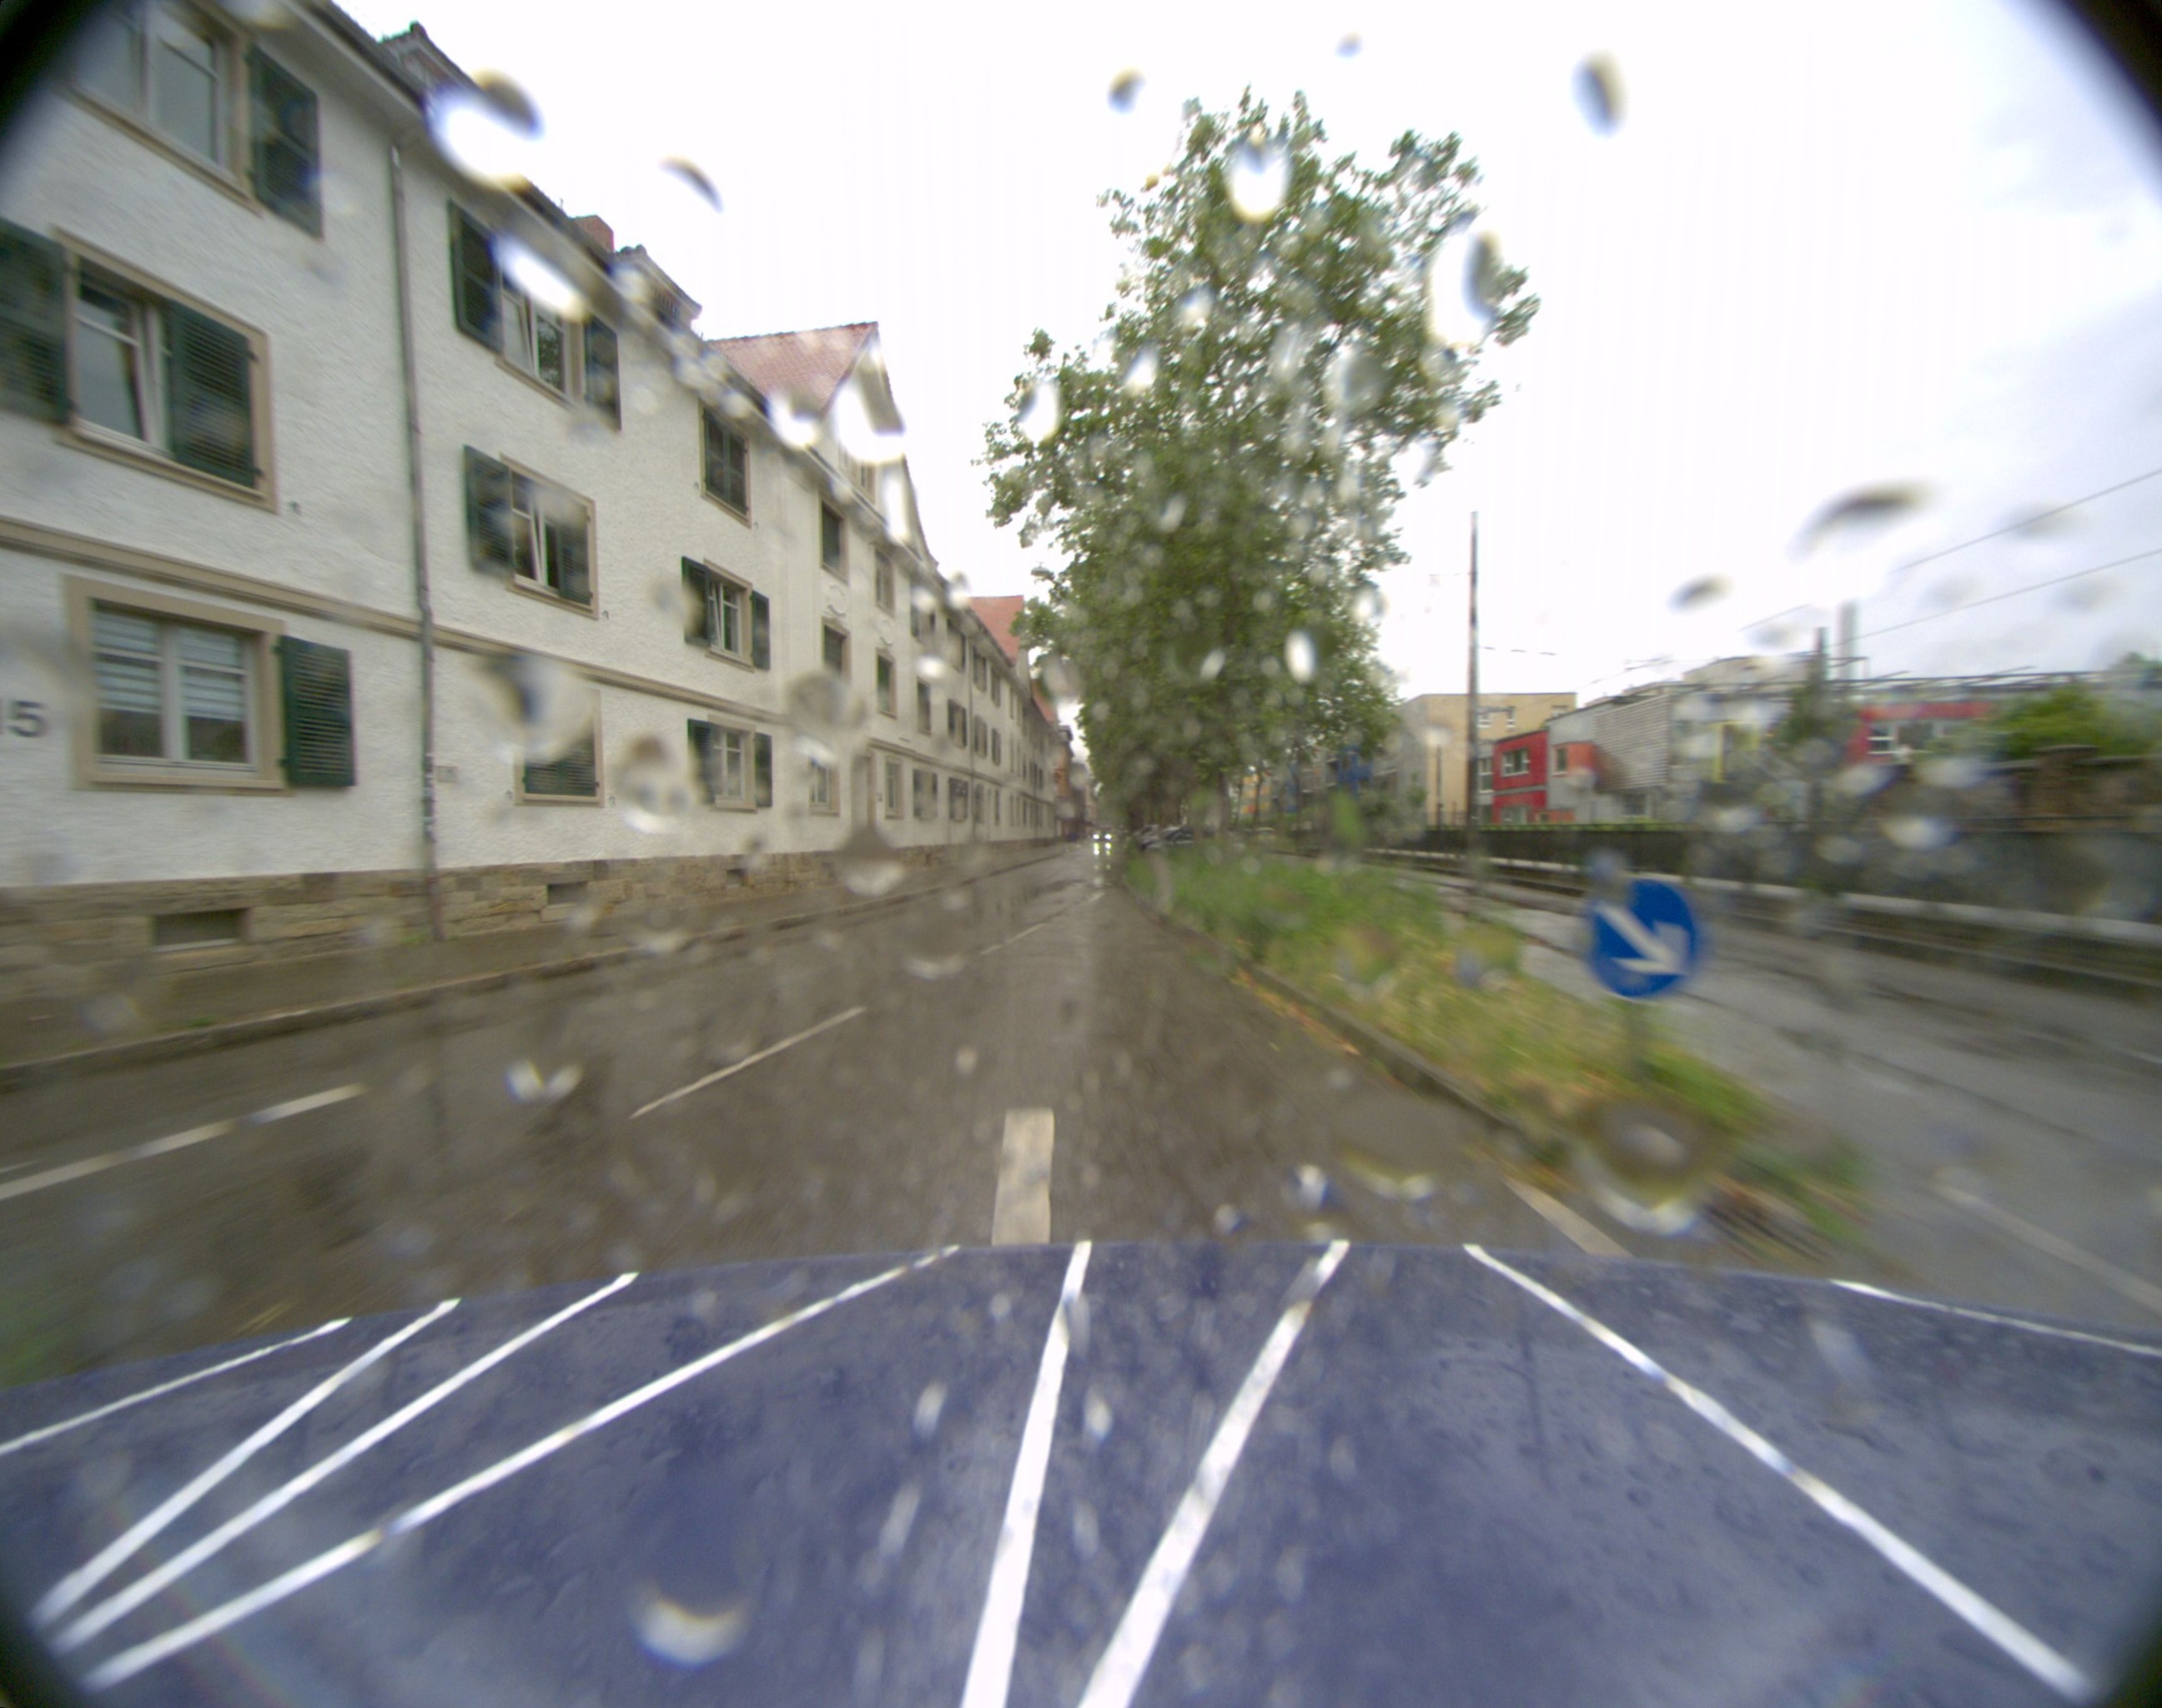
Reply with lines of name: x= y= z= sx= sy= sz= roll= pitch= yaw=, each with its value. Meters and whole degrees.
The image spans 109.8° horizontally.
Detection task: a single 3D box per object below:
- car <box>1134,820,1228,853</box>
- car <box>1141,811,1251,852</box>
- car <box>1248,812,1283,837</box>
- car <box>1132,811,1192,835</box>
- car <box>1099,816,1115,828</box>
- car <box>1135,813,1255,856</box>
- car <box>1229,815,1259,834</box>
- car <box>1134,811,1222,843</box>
car: x=5.015 y=-0.924 z=38.333 sx=4.320 sy=1.500 sz=1.752 roll=3 pitch=4 yaw=35
car: x=4.858 y=-0.988 z=32.331 sx=4.218 sy=1.602 sz=1.751 roll=3 pitch=4 yaw=33
car: x=13.396 y=-2.155 z=55.383 sx=1.691 sy=1.714 sz=3.690 roll=1 pitch=3 yaw=2
car: x=7.080 y=-2.742 z=66.656 sx=4.877 sy=2.003 sz=2.003 roll=3 pitch=4 yaw=33
car: x=3.440 y=-4.224 z=99.945 sx=1.850 sy=1.587 sz=4.216 roll=0 pitch=3 yaw=5
car: x=4.476 y=-0.824 z=29.940 sx=4.218 sy=1.533 sz=1.934 roll=3 pitch=4 yaw=33
car: x=13.577 y=-2.486 z=63.485 sx=1.691 sy=1.440 sz=3.998 roll=1 pitch=3 yaw=2
car: x=5.234 y=-1.494 z=41.010 sx=4.321 sy=1.604 sz=1.751 roll=3 pitch=4 yaw=28
